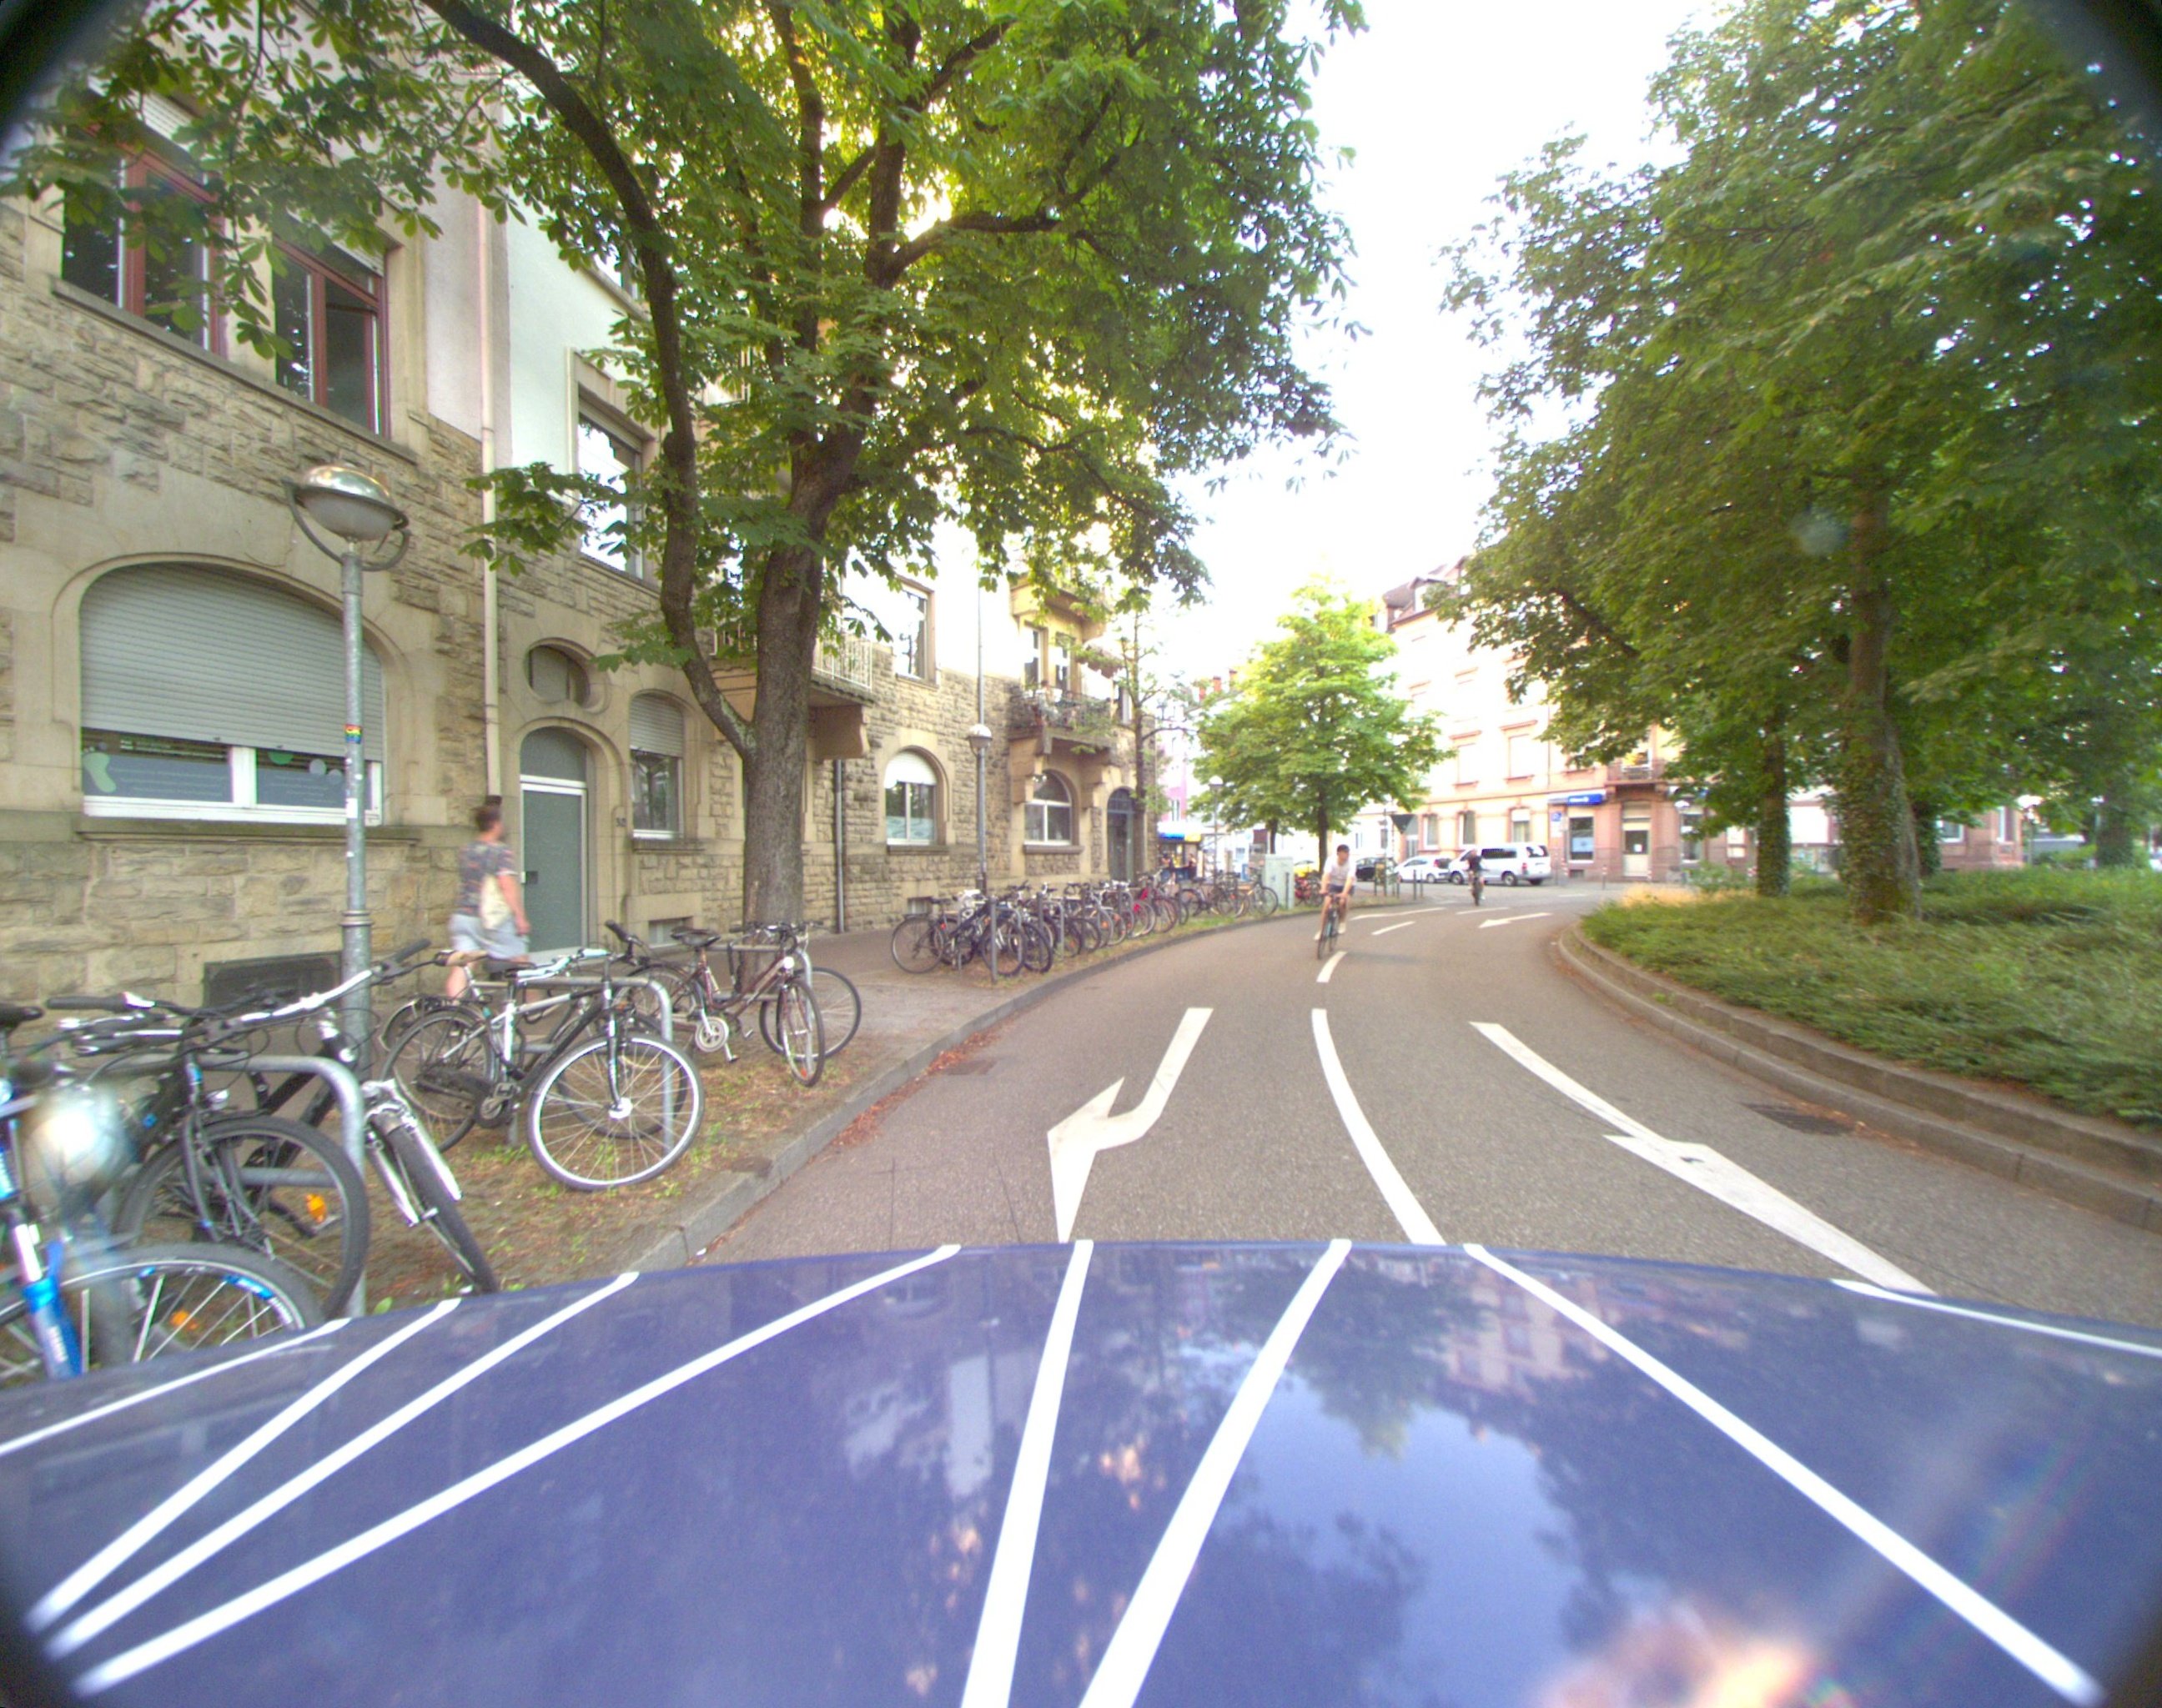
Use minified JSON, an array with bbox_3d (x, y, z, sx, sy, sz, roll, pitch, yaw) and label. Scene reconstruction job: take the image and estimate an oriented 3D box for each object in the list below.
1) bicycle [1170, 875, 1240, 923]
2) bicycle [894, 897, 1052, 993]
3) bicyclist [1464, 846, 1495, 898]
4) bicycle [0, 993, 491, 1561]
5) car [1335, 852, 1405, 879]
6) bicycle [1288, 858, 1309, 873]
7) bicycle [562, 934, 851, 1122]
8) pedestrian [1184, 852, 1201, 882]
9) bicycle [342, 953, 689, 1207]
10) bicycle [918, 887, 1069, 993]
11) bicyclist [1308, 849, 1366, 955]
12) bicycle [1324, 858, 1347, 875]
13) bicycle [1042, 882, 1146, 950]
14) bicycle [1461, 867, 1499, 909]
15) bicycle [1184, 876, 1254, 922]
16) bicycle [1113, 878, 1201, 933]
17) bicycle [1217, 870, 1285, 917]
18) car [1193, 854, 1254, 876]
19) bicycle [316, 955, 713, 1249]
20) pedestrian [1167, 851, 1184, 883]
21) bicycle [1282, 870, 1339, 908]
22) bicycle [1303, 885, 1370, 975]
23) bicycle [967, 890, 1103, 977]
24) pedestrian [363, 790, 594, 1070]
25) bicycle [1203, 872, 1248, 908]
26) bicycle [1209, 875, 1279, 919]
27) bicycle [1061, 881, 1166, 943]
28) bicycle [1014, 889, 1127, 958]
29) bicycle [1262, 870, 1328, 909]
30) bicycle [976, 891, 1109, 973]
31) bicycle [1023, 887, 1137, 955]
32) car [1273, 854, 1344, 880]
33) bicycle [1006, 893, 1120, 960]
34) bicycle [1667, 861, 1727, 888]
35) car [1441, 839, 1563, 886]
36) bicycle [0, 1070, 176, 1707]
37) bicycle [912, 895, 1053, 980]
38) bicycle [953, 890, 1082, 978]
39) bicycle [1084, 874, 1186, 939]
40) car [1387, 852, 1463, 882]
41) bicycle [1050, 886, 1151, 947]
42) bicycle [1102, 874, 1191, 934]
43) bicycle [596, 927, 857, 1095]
[{"bbox_3d":[2.937,1.039,18.015,1.603,1.069,0.420,0,1,32],"label":"bicycle"},{"bbox_3d":[-1.341,1.126,9.444,1.882,1.132,0.493,-2,-3,11],"label":"bicycle"},{"bbox_3d":[11.736,0.527,22.384,0.685,1.503,0.974,-1,0,20],"label":"bicyclist"},{"bbox_3d":[-2.898,1.068,2.235,1.889,1.156,0.705,0,1,8],"label":"bicycle"},{"bbox_3d":[17.172,0.688,45.265,1.736,1.483,3.735,-2,1,-25],"label":"car"},{"bbox_3d":[16.184,0.851,56.624,0.481,1.133,1.860,0,0,-20],"label":"bicycle"},{"bbox_3d":[-2.397,1.086,4.922,1.673,1.072,0.486,0,1,6],"label":"bicycle"},{"bbox_3d":[5.735,0.672,39.013,0.589,1.530,0.680,0,1,39],"label":"pedestrian"},{"bbox_3d":[-2.942,1.107,3.963,1.672,1.072,0.487,0,1,14],"label":"bicycle"},{"bbox_3d":[-1.143,1.073,9.835,1.880,1.211,0.492,0,7,24],"label":"bicycle"},{"bbox_3d":[3.840,0.680,11.359,0.684,1.503,0.975,-1,0,27],"label":"bicyclist"},{"bbox_3d":[17.647,0.877,52.757,0.481,1.133,1.860,0,0,-20],"label":"bicycle"},{"bbox_3d":[0.215,1.074,13.527,1.850,1.110,0.420,0,1,28],"label":"bicycle"},{"bbox_3d":[11.768,0.967,22.467,0.685,1.144,2.118,-1,0,20],"label":"bicycle"},{"bbox_3d":[3.297,1.060,18.239,1.603,1.057,0.420,0,1,32],"label":"bicycle"},{"bbox_3d":[1.587,1.058,15.917,1.792,1.057,0.448,0,1,28],"label":"bicycle"},{"bbox_3d":[4.281,0.976,19.191,1.603,1.141,0.556,0,1,36],"label":"bicycle"},{"bbox_3d":[10.084,0.736,54.220,2.002,1.508,4.832,0,0,-21],"label":"car"},{"bbox_3d":[-2.656,1.074,3.587,1.672,1.120,0.487,0,-6,15],"label":"bicycle"},{"bbox_3d":[4.838,0.671,38.847,0.589,1.627,0.680,0,1,39],"label":"pedestrian"},{"bbox_3d":[6.624,0.988,22.003,0.433,1.033,1.603,-1,1,-42],"label":"bicycle"},{"bbox_3d":[3.883,1.073,11.437,0.684,1.144,2.119,-1,0,26],"label":"bicycle"},{"bbox_3d":[-0.679,1.150,11.160,1.851,1.126,0.418,0,20,24],"label":"bicycle"},{"bbox_3d":[-4.865,0.563,6.216,1.012,2.073,1.061,0,0,10],"label":"pedestrian"},{"bbox_3d":[4.162,1.022,21.830,0.431,0.963,1.730,0,1,41],"label":"bicycle"},{"bbox_3d":[4.023,1.050,18.831,1.603,1.014,0.556,0,1,36],"label":"bicycle"},{"bbox_3d":[0.599,1.067,14.317,1.916,1.058,0.553,0,1,26],"label":"bicycle"},{"bbox_3d":[-0.190,1.128,12.580,1.851,1.045,0.419,0,1,24],"label":"bicycle"},{"bbox_3d":[6.165,1.000,21.955,0.433,1.033,1.894,-1,1,-42],"label":"bicycle"},{"bbox_3d":[-0.574,1.152,11.417,1.851,1.088,0.418,0,20,24],"label":"bicycle"},{"bbox_3d":[-0.033,1.119,13.043,1.916,1.055,0.536,0,1,25],"label":"bicycle"},{"bbox_3d":[14.975,0.834,50.262,1.846,1.517,4.792,-3,1,-23],"label":"car"},{"bbox_3d":[-0.304,1.147,12.312,1.851,0.994,0.419,0,1,24],"label":"bicycle"},{"bbox_3d":[25.042,0.820,30.906,0.561,1.076,1.793,-2,1,-34],"label":"bicycle"},{"bbox_3d":[20.179,0.383,36.711,2.049,2.045,4.996,-2,1,-20],"label":"car"},{"bbox_3d":[-2.976,1.070,1.476,1.889,1.156,0.641,0,1,8],"label":"bicycle"},{"bbox_3d":[-1.329,1.130,10.435,1.854,1.098,0.574,0,1,1],"label":"bicycle"},{"bbox_3d":[-0.920,1.110,10.826,1.851,1.138,0.419,0,1,24],"label":"bicycle"},{"bbox_3d":[1.054,1.001,14.908,1.916,1.193,0.553,0,1,26],"label":"bicycle"},{"bbox_3d":[18.731,0.703,41.489,1.691,1.483,3.607,-2,1,-22],"label":"car"},{"bbox_3d":[0.334,1.108,13.833,1.850,1.008,0.420,0,1,28],"label":"bicycle"},{"bbox_3d":[1.331,1.003,15.592,1.792,1.161,0.448,0,1,28],"label":"bicycle"},{"bbox_3d":[-2.518,1.091,5.455,1.673,1.072,0.486,0,1,6],"label":"bicycle"}]
